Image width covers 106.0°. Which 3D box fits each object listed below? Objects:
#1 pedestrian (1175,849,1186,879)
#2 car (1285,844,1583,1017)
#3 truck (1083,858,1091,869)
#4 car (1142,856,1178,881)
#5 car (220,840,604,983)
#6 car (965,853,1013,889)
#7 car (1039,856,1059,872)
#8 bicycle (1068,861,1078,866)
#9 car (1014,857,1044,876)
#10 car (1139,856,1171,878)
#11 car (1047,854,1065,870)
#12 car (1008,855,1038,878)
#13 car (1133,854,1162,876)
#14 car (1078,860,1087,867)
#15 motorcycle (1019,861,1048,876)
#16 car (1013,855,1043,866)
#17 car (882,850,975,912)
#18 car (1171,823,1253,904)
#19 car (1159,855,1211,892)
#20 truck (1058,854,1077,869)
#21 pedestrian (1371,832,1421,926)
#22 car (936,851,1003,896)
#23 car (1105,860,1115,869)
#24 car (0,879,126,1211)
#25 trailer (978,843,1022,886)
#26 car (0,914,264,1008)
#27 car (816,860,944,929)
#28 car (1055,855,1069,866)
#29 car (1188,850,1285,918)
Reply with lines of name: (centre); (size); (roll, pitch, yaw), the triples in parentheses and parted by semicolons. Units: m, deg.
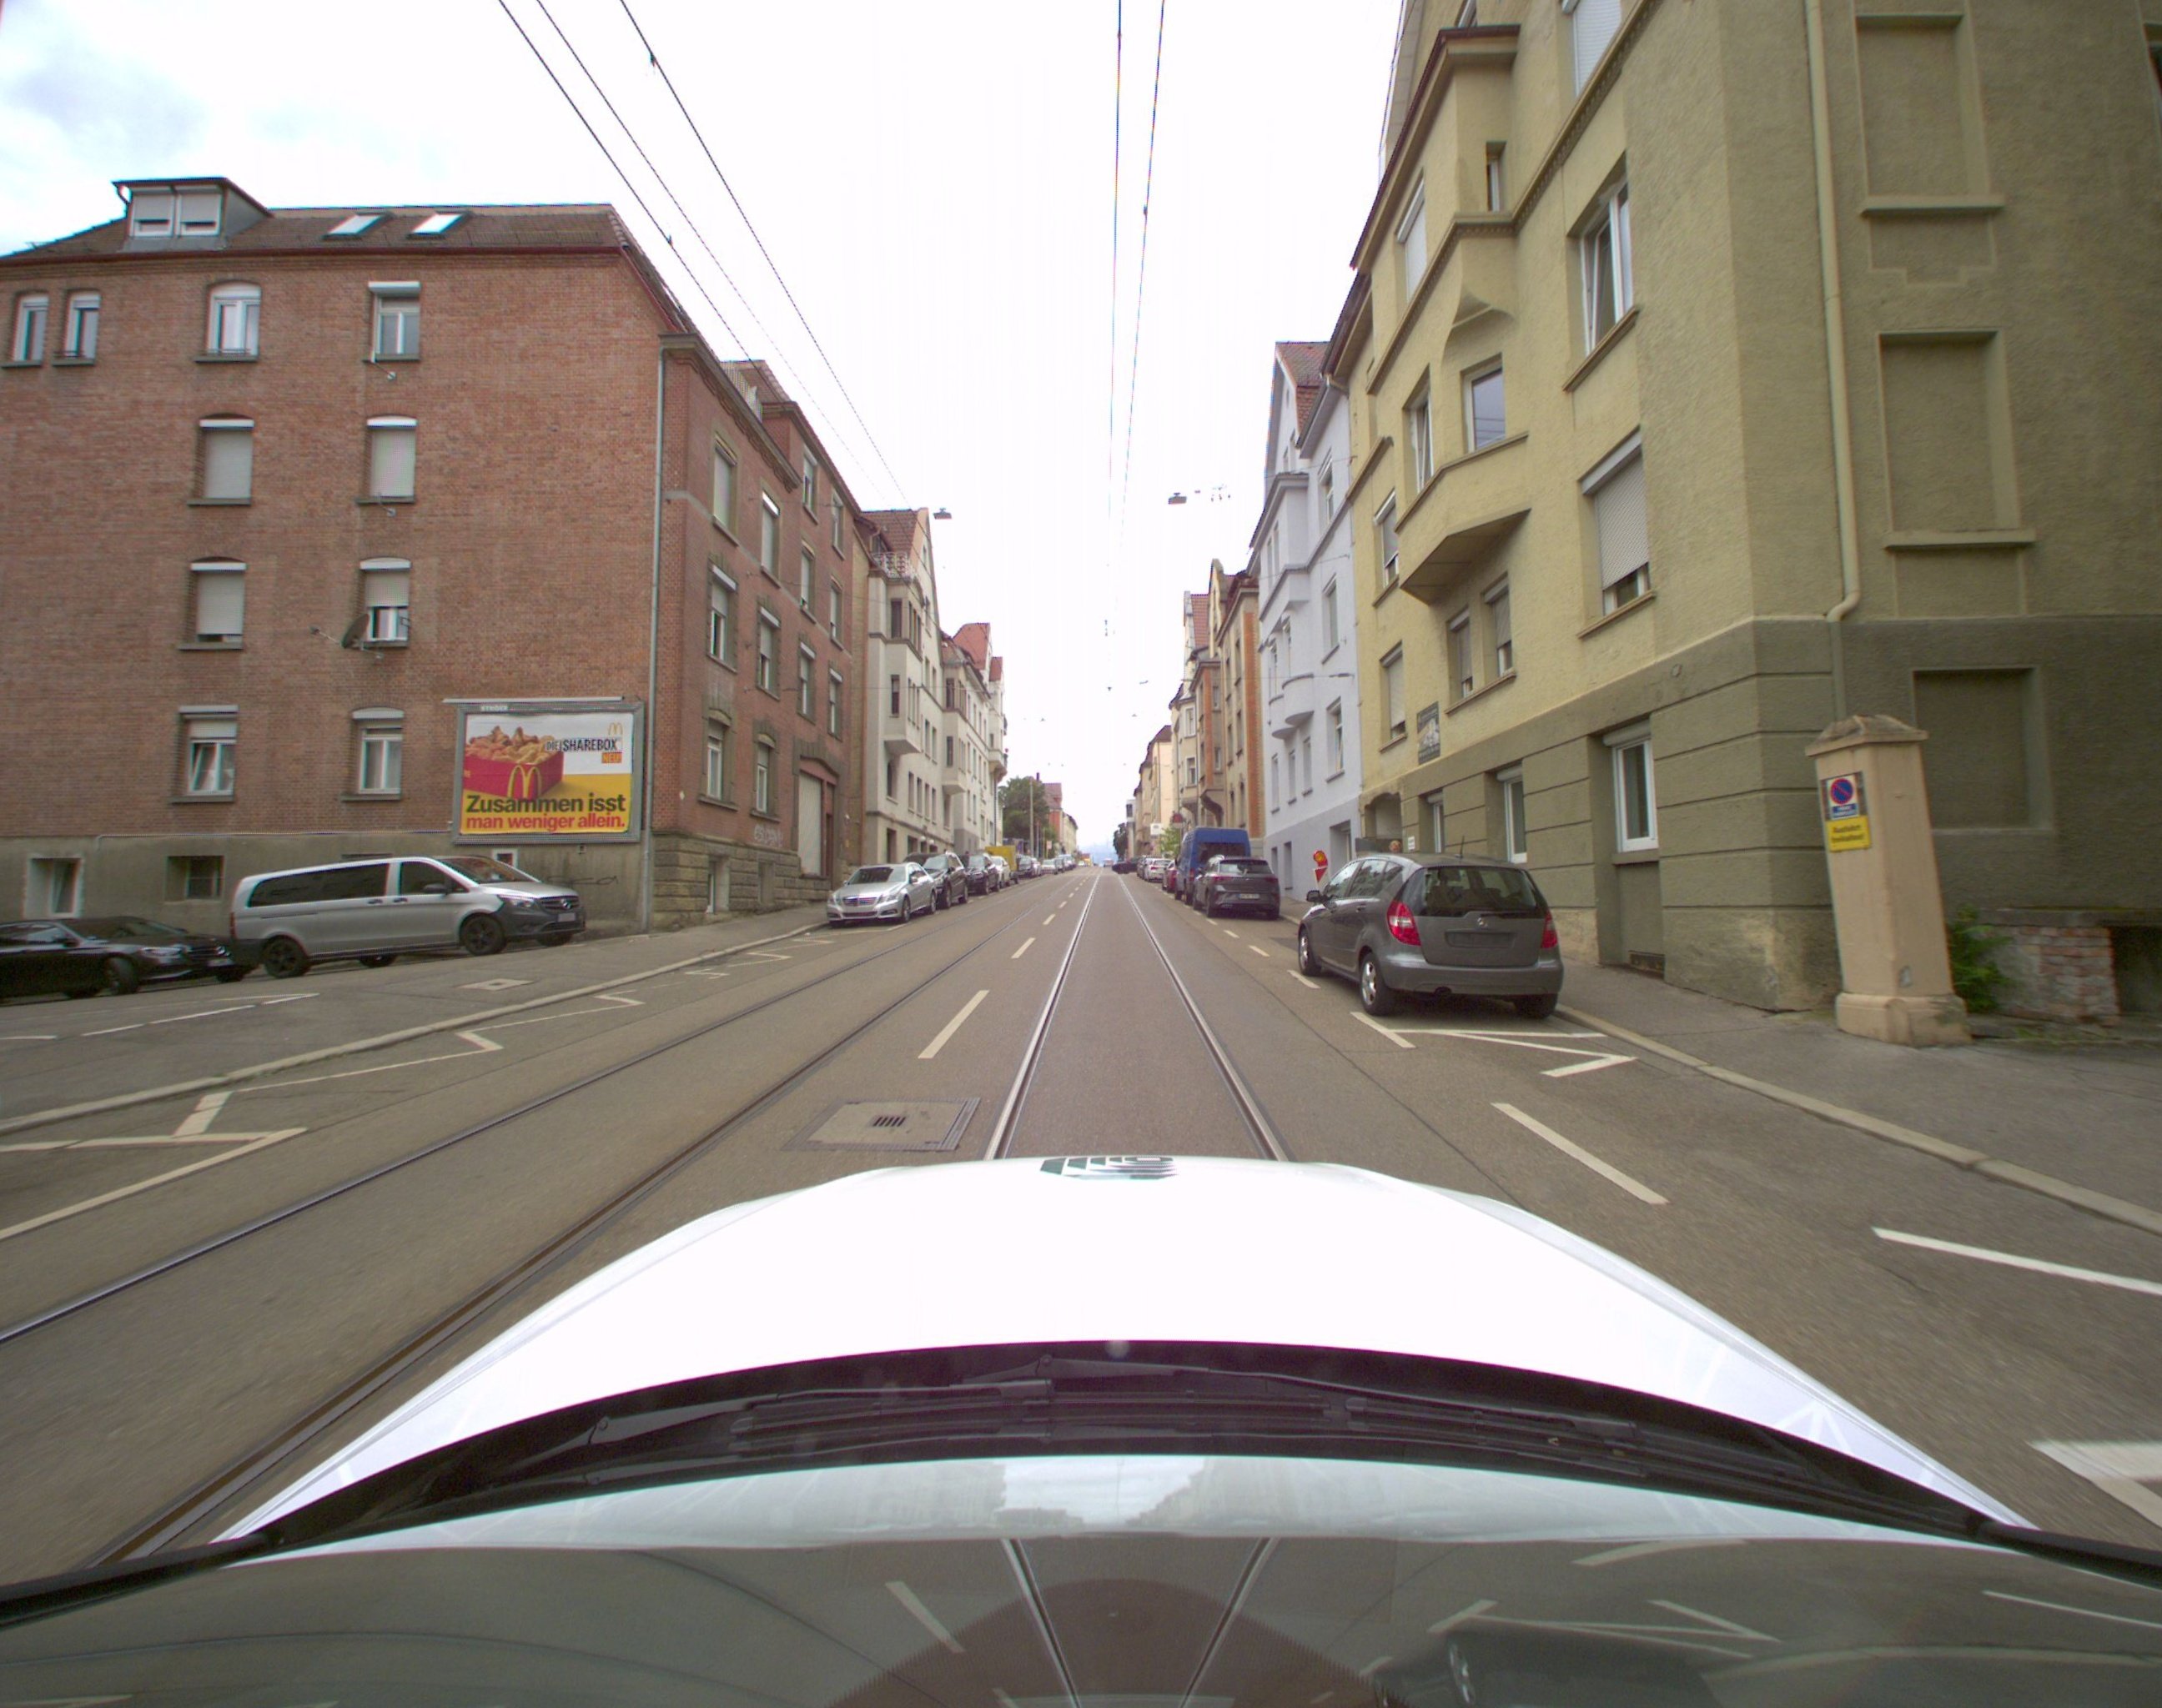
pedestrian: (6.114, 0.611, 50.254); (0.597, 1.803, 0.632); (0, -1, 1)
car: (3.707, 0.684, 9.411); (1.820, 1.519, 4.030); (1, 0, 2)
truck: (1.854, 2.833, 241.533); (2.294, 3.037, 9.036); (0, -1, 2)
car: (4.675, 0.831, 48.622); (1.744, 1.390, 4.307); (1, 0, 1)
car: (-11.748, 0.963, 14.559); (5.154, 1.818, 1.942); (-6, -1, 2)
car: (-4.520, 0.809, 40.663); (1.690, 1.593, 4.271); (-3, 0, 2)
car: (-3.272, 1.010, 84.284); (1.690, 1.556, 3.853); (-1, 0, 3)
bicycle: (-1.509, 1.789, 158.978); (1.903, 1.000, 0.479); (-1, -1, 2)
car: (-3.895, 0.916, 61.731); (1.772, 1.357, 4.295); (-1, 0, 3)
car: (4.923, 0.827, 54.963); (1.774, 1.390, 4.692); (1, 0, 1)
car: (-2.902, 0.953, 95.353); (1.736, 1.736, 4.523); (-3, 0, 3)
car: (-3.984, 0.884, 56.490); (1.690, 1.468, 3.025); (-3, -1, 2)
car: (4.905, 0.766, 60.233); (1.729, 1.537, 4.572); (1, 0, 0)
car: (0.316, 2.214, 188.626); (1.848, 1.607, 4.298); (-1, 0, 2)
motorcycle: (-3.783, 1.141, 64.683); (2.093, 1.134, 0.769); (-2, 0, 15)
car: (-7.403, 0.863, 113.658); (4.046, 1.445, 1.688); (-1, 0, 1)
car: (-4.792, 0.784, 26.303); (1.820, 1.718, 4.916); (-3, 0, 2)
car: (4.173, 0.317, 26.736); (1.986, 2.376, 5.058); (0, -1, 2)
car: (4.466, 0.807, 35.511); (1.773, 1.475, 4.591); (1, 0, 2)
truck: (-2.023, 1.122, 122.277); (2.271, 2.188, 8.030); (-1, 0, 3)
pedestrian: (5.858, 0.463, 15.162); (0.540, 1.682, 0.515); (-5, -3, -7)
car: (-4.597, 0.747, 34.363); (1.866, 1.664, 4.894); (-3, 0, 2)
car: (5.179, 1.876, 147.686); (1.666, 1.513, 3.797); (-1, 0, 0)
car: (-5.632, 0.907, 1.661); (1.822, 1.429, 4.626); (-4, 0, 0)
trailer: (-4.385, 0.527, 44.833); (1.742, 2.155, 4.073); (-3, 0, 2)
car: (-17.130, 1.902, 14.561); (3.590, 1.145, 1.512); (-7, -1, 4)
car: (-4.980, 0.939, 20.915); (1.820, 1.429, 4.842); (-3, 0, 2)
car: (-2.611, 0.882, 113.935); (1.691, 1.433, 4.481); (-3, 0, 0)
car: (3.996, 0.733, 21.524); (1.773, 1.530, 4.193); (3, 0, 1)
